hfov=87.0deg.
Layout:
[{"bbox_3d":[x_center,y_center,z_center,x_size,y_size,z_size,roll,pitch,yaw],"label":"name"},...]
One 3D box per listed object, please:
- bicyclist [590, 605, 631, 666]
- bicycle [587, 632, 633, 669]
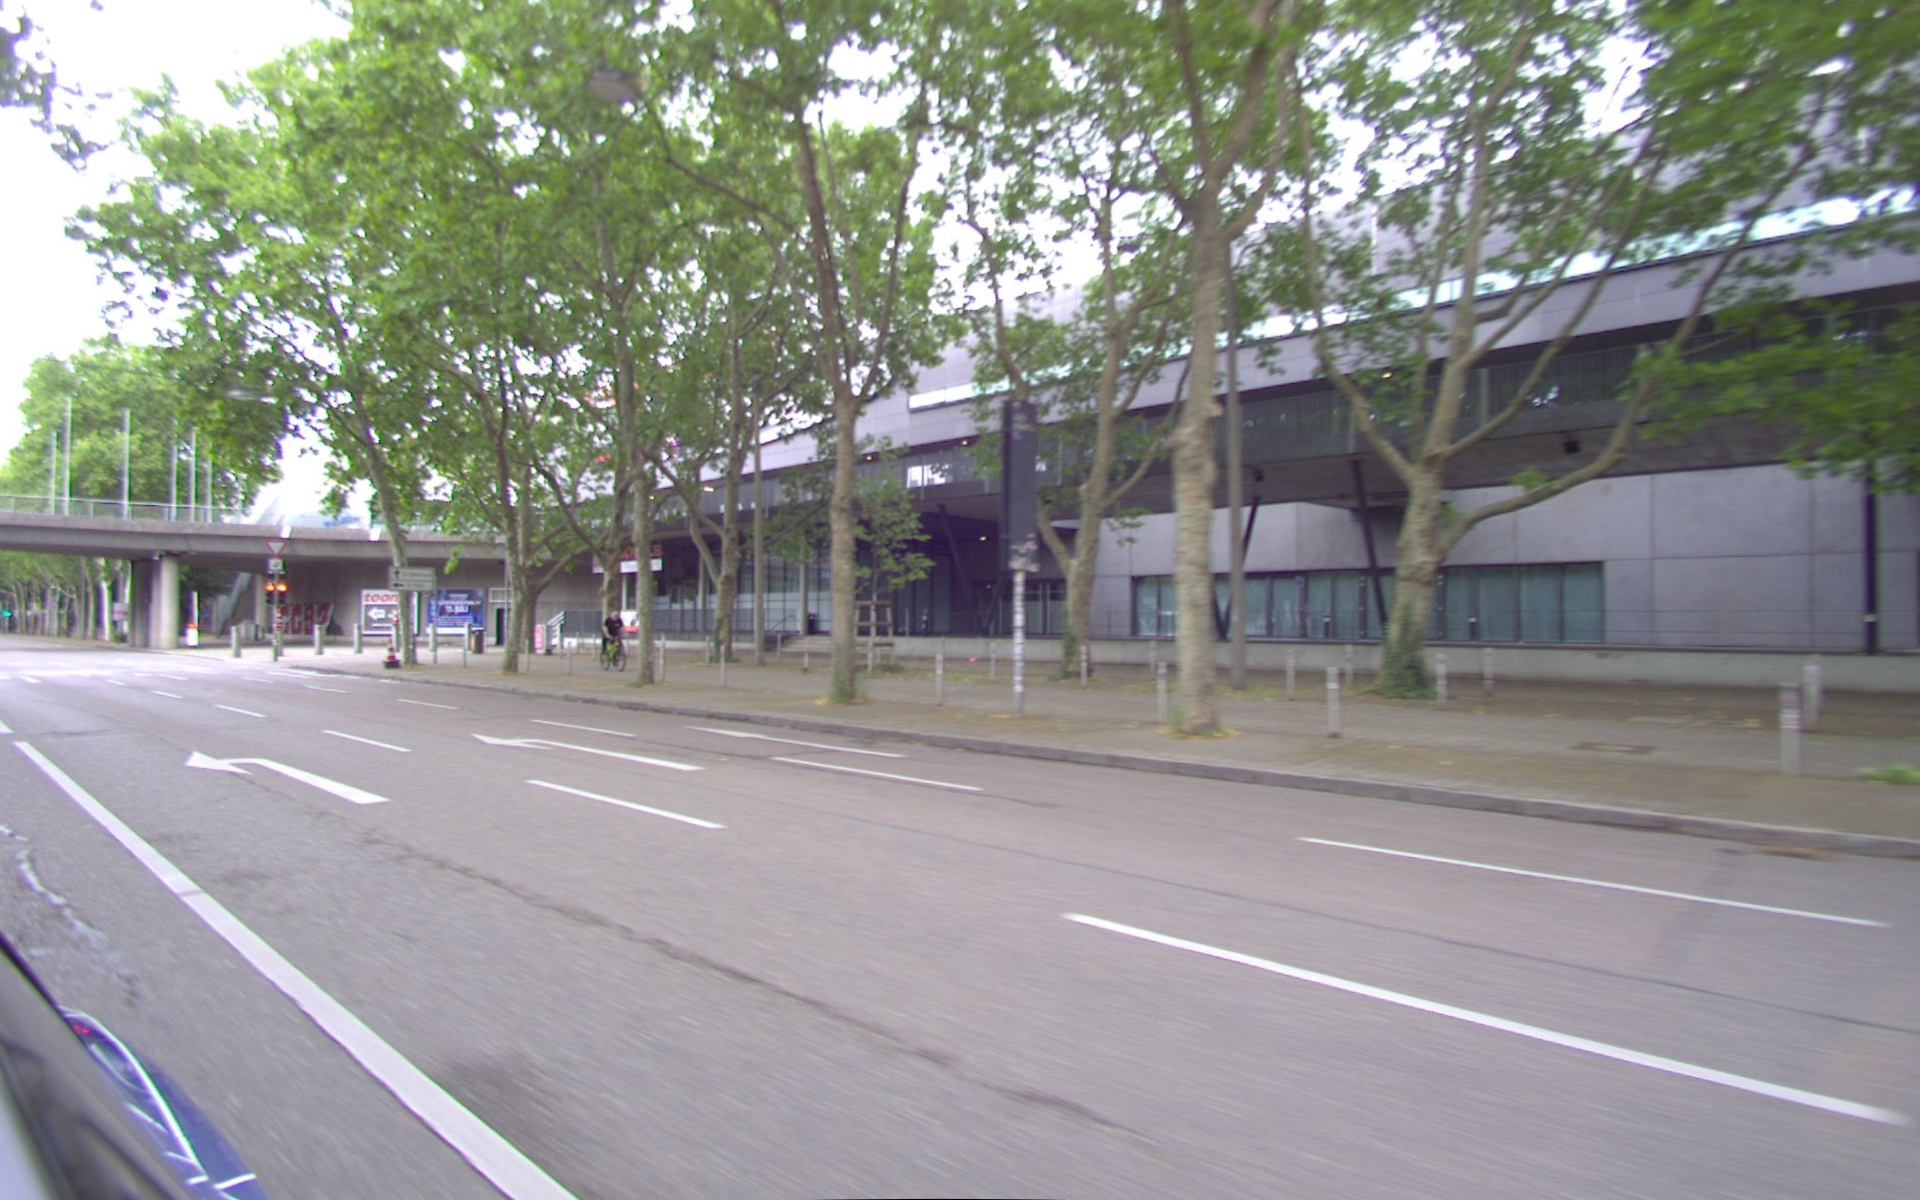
[{"bbox_3d":[-10.171,1.031,29.451,0.854,1.710,0.756,1,-2,40],"label":"bicyclist"},{"bbox_3d":[-10.185,1.460,29.434,1.537,1.020,0.510,1,-2,41],"label":"bicycle"}]
